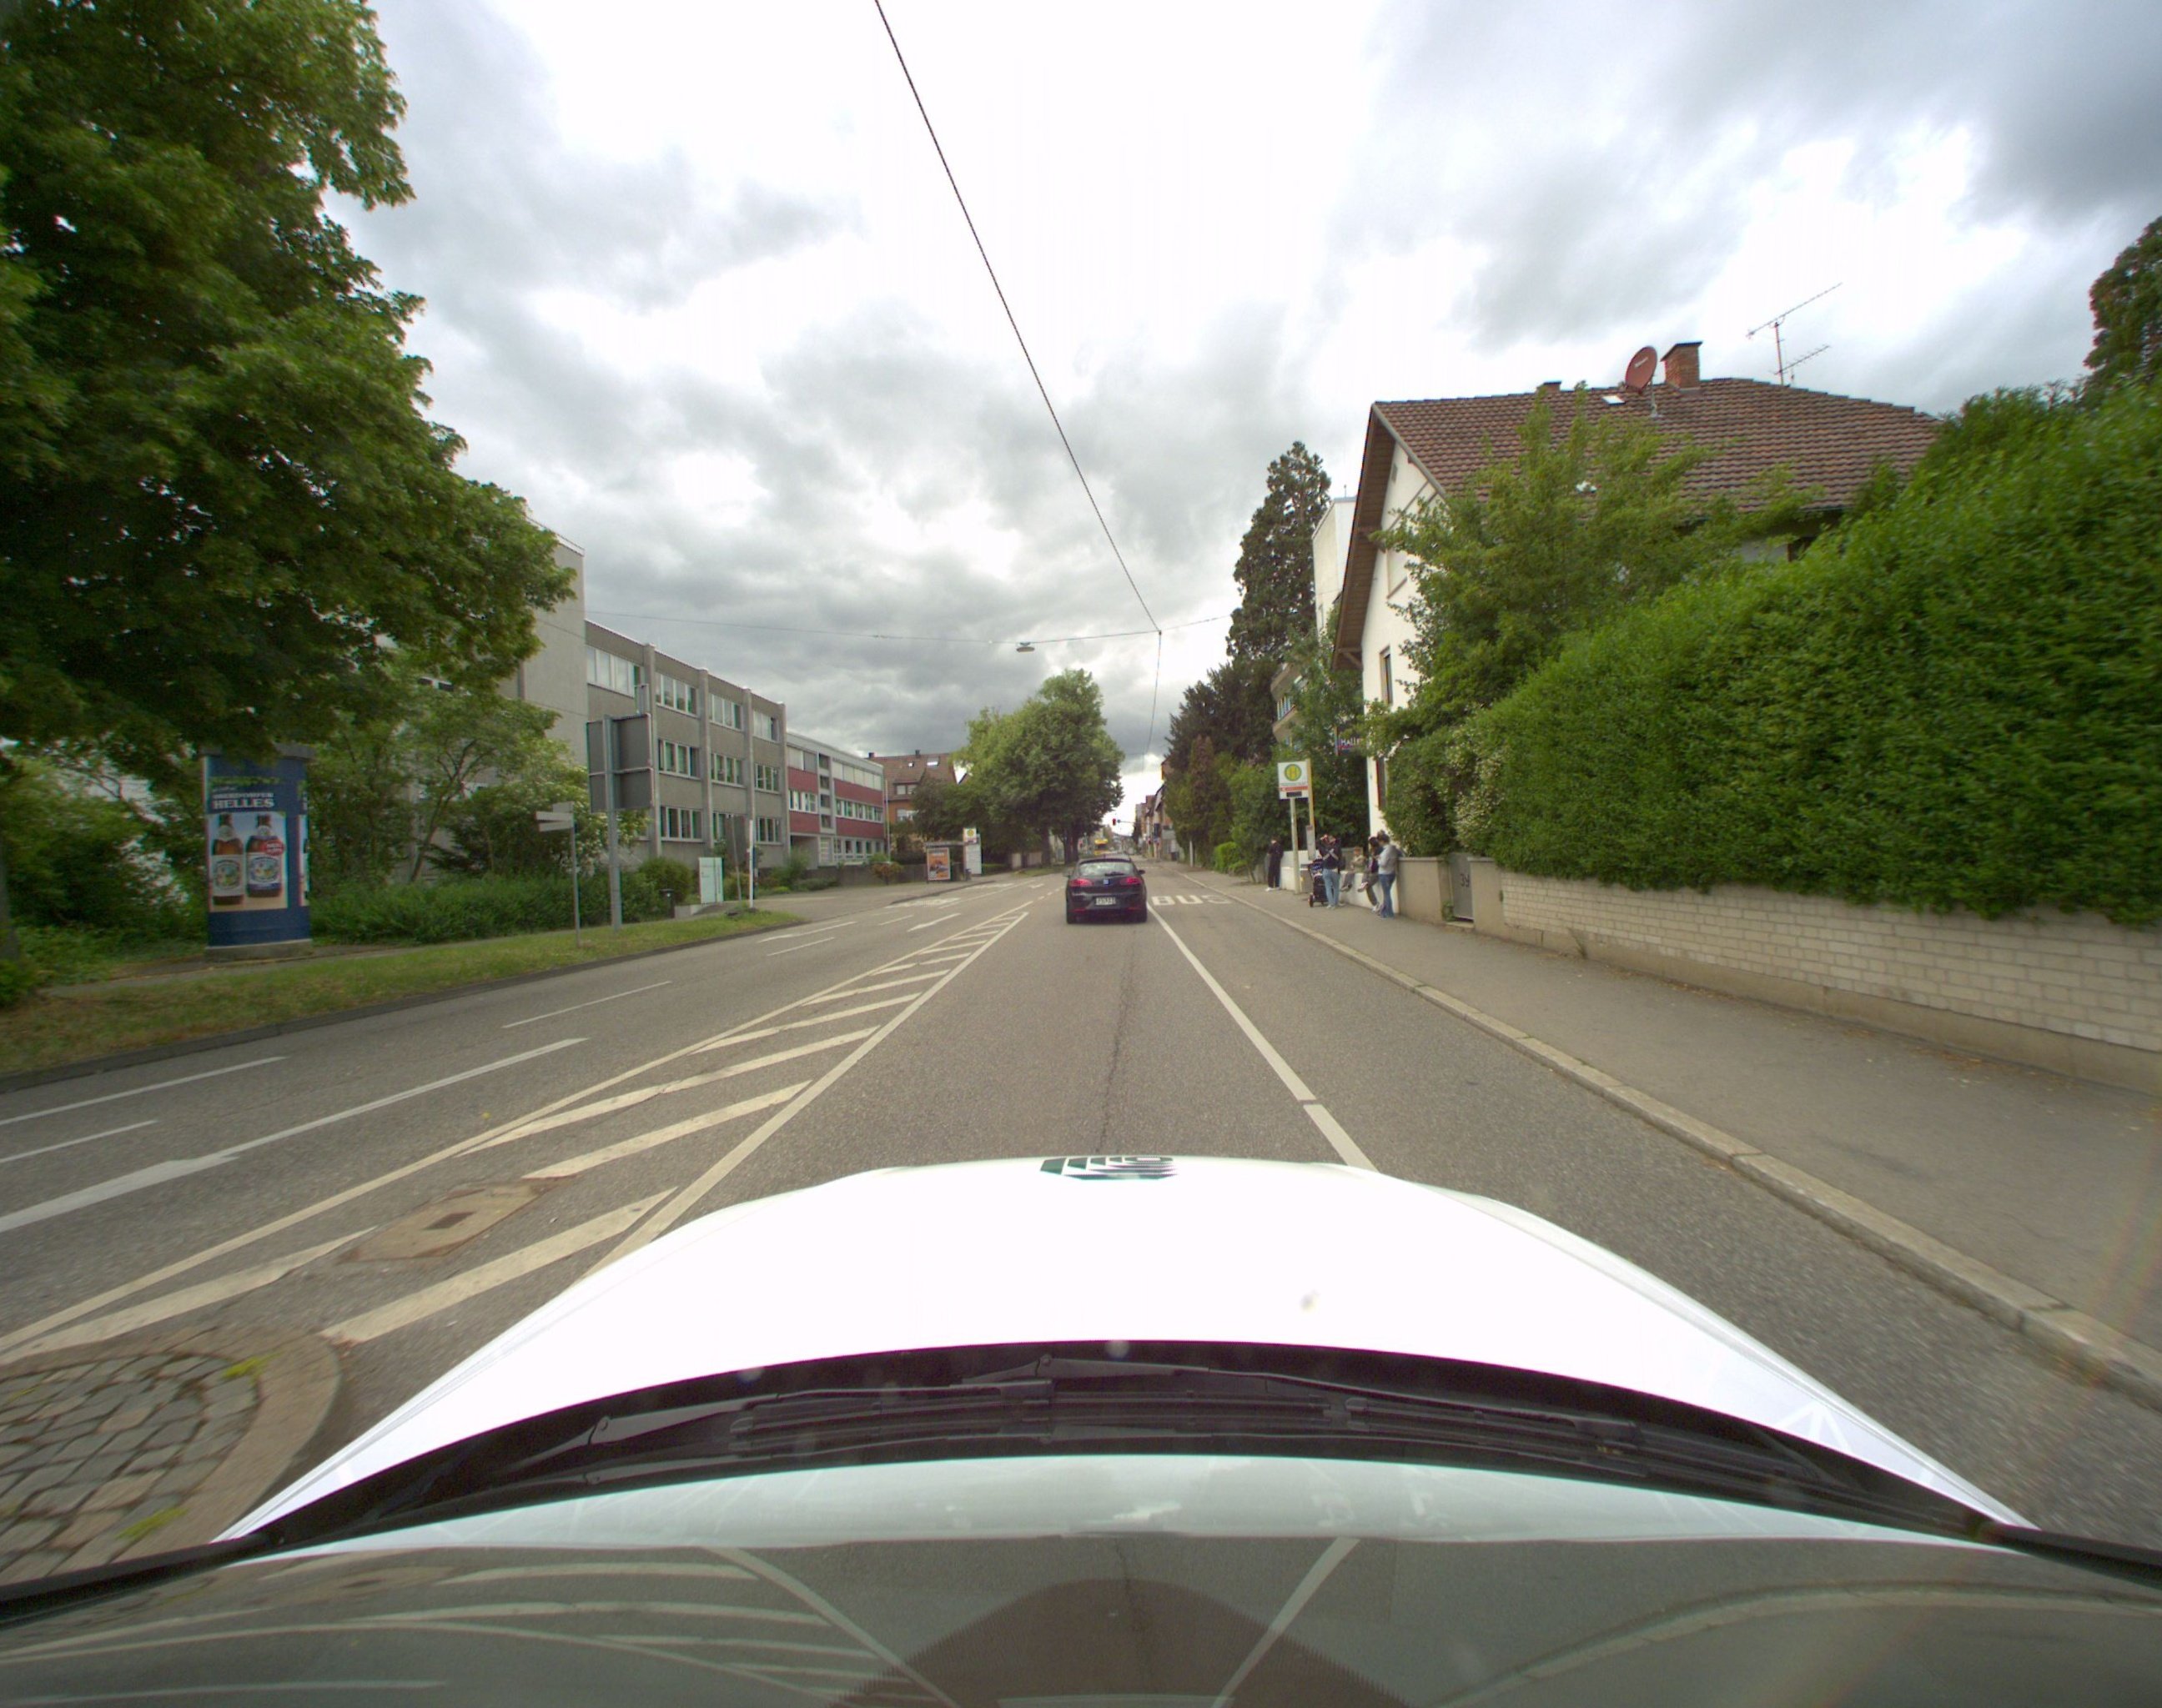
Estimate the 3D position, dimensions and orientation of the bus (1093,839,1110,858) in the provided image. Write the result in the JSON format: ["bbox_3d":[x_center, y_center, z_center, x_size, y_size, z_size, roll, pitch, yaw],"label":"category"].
[{"bbox_3d":[3.711,-0.920,144.671,2.858,3.136,6.400,-2,0,2],"label":"bus"}]

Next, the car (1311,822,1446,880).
[{"bbox_3d":[10.399,-0.090,28.661,3.975,1.789,1.887,-3,-1,-1],"label":"car"}]

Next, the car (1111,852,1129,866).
[{"bbox_3d":[5.119,0.624,106.183,1.982,1.684,4.009,-2,-1,8],"label":"car"}]

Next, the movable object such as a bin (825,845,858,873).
[{"bbox_3d":[-17.967,0.367,61.134,1.986,2.013,1.543,-2,0,1],"label":"movable object such as a bin"}]

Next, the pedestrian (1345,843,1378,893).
[{"bbox_3d":[5.689,0.290,16.528,0.453,0.964,0.382,-5,0,-4],"label":"pedestrian"}]

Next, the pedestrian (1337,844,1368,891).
[{"bbox_3d":[5.907,0.289,17.744,0.453,0.964,0.382,-5,0,-4],"label":"pedestrian"}]

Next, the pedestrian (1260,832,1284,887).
[{"bbox_3d":[6.111,0.178,26.072,0.583,1.712,0.530,-3,-1,1],"label":"pedestrian"}]

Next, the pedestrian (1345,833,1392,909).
[{"bbox_3d":[5.636,0.338,15.978,0.613,1.427,0.516,-5,0,41],"label":"pedestrian"}]

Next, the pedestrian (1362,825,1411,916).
[{"bbox_3d":[5.457,0.284,14.568,0.543,1.555,0.470,-5,0,-6],"label":"pedestrian"}]

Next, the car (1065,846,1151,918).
[{"bbox_3d":[0.525,0.581,18.446,1.754,1.449,3.713,0,0,-1],"label":"car"}]

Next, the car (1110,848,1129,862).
[{"bbox_3d":[4.366,0.151,93.019,1.935,1.481,4.253,-2,0,0],"label":"car"}]

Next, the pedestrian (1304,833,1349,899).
[{"bbox_3d":[5.849,0.280,19.401,0.778,1.500,0.604,-4,-1,-3],"label":"pedestrian"}]

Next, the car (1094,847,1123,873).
[{"bbox_3d":[1.927,0.391,56.077,1.811,1.699,4.257,-2,0,4],"label":"car"}]

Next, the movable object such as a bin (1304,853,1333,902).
[{"bbox_3d":[5.405,0.538,18.551,0.436,1.058,0.572,-5,0,28],"label":"movable object such as a bin"}]

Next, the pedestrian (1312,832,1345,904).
[{"bbox_3d":[5.339,0.301,17.602,0.546,1.517,0.362,-4,0,11],"label":"pedestrian"}]
